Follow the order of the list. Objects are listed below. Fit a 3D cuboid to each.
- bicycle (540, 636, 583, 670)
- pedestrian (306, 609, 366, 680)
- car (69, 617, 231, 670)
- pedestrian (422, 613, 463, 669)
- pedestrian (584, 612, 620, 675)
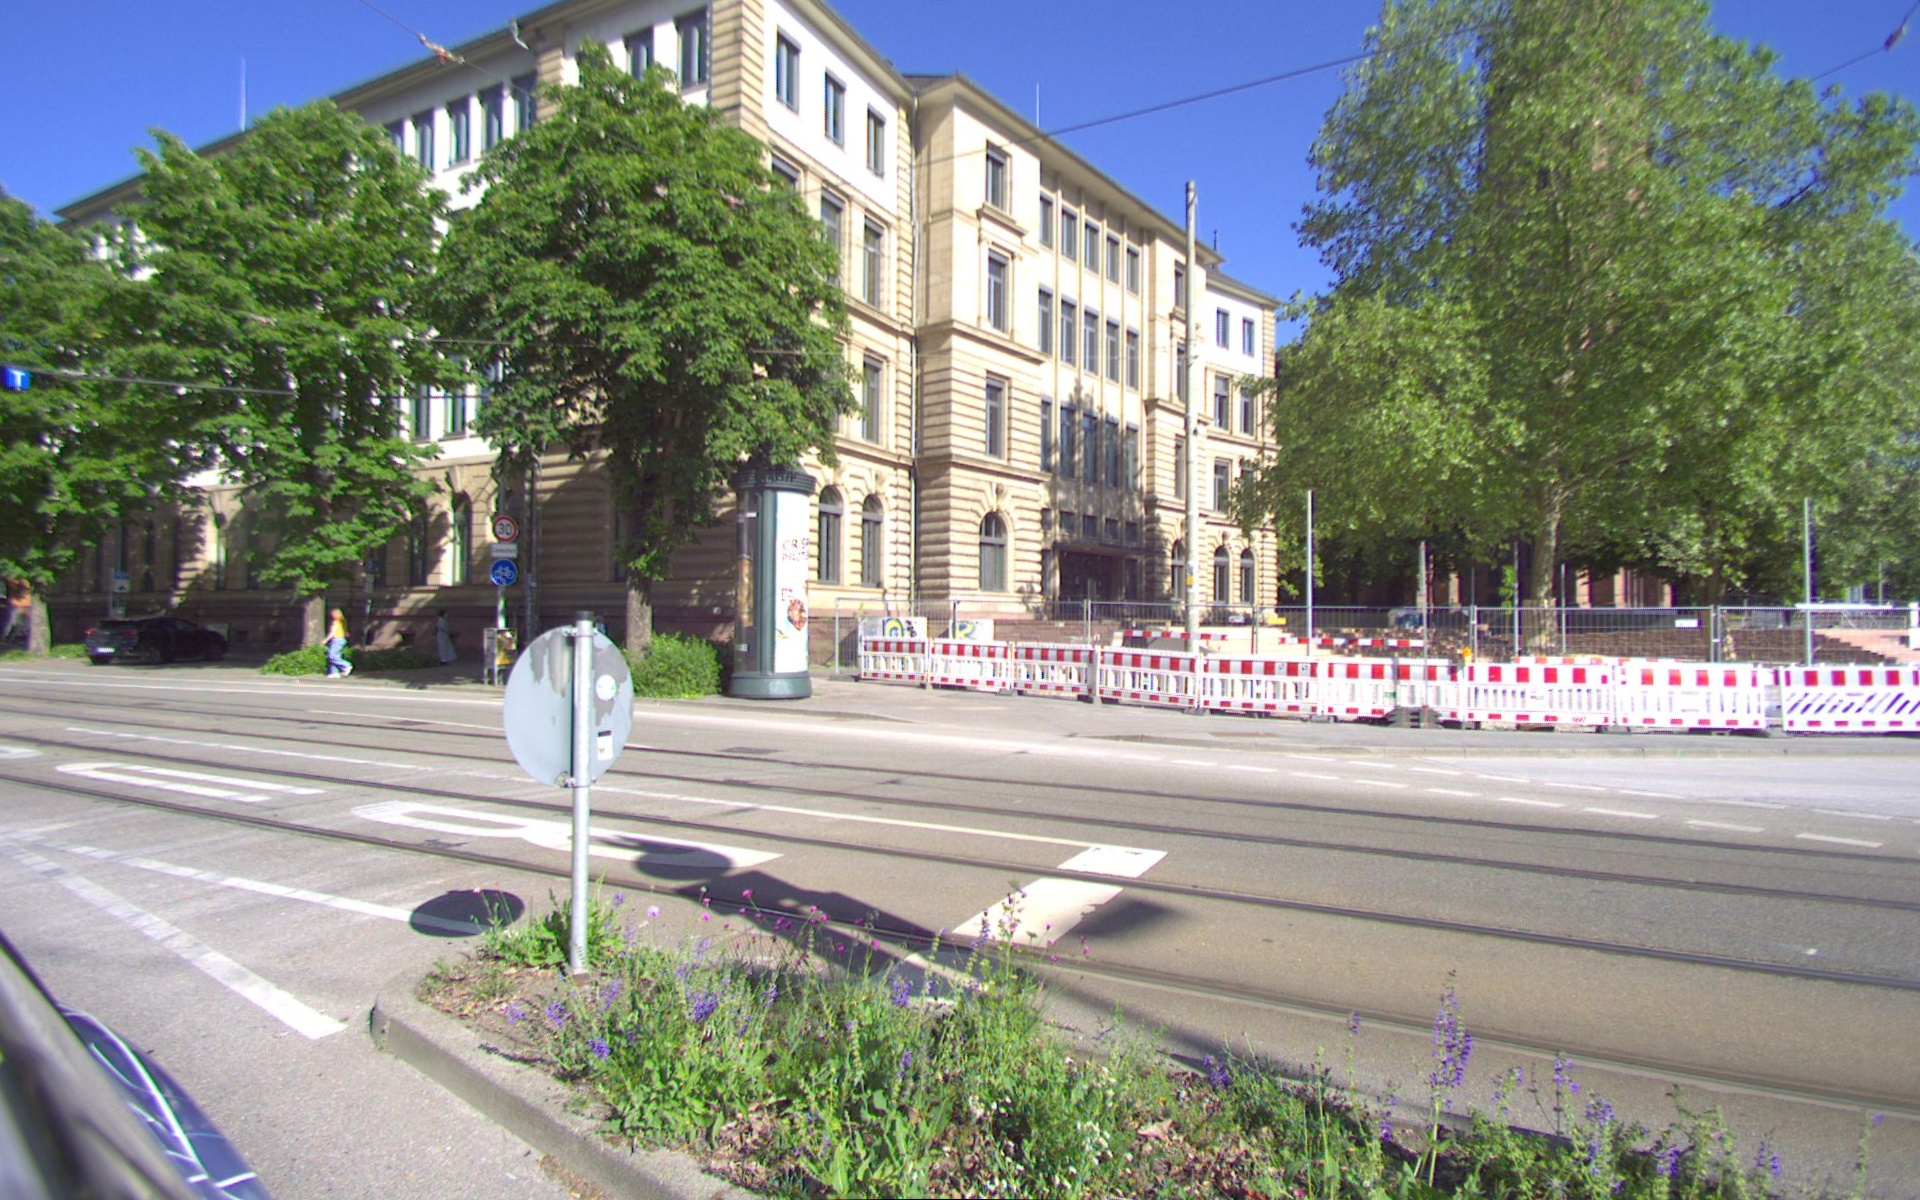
[{"bbox_3d":[-11.394,1.516,28.938,1.356,0.910,0.394,0,0,31],"label":"bicycle"},{"bbox_3d":[-15.519,1.122,25.178,1.024,1.682,0.768,-4,-5,15],"label":"pedestrian"},{"bbox_3d":[-26.066,1.381,32.778,1.895,1.586,4.108,0,-2,1],"label":"car"},{"bbox_3d":[-15.203,1.201,29.714,0.854,1.578,0.667,0,2,28],"label":"pedestrian"},{"bbox_3d":[-9.155,1.108,25.889,0.651,1.574,0.573,-1,-2,29],"label":"pedestrian"}]
